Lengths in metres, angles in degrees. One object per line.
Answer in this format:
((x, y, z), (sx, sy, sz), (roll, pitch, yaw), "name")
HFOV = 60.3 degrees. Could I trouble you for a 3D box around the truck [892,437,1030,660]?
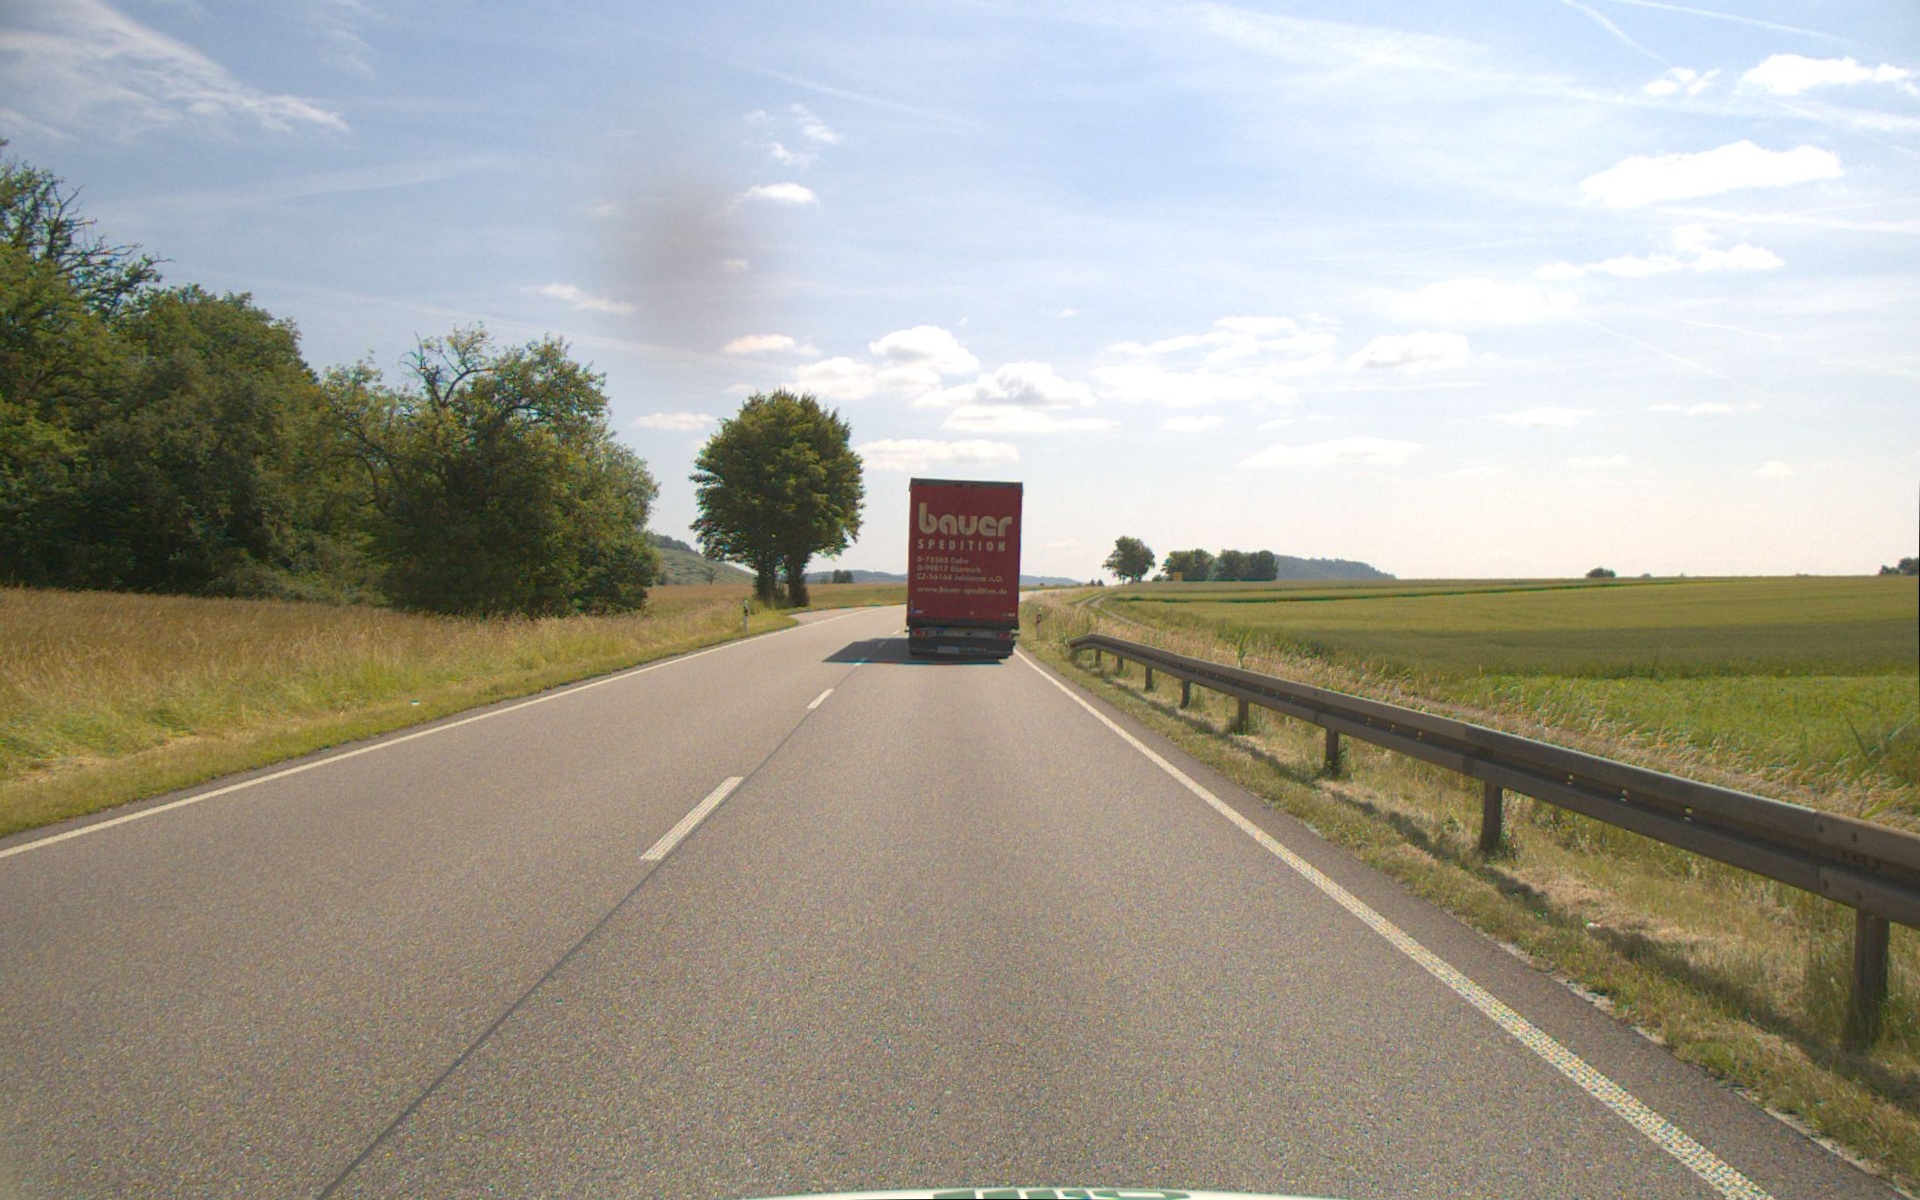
((-0.136, -1.090, 40.848), (2.915, 4.796, 9.361), (1, -1, -2), "truck")
